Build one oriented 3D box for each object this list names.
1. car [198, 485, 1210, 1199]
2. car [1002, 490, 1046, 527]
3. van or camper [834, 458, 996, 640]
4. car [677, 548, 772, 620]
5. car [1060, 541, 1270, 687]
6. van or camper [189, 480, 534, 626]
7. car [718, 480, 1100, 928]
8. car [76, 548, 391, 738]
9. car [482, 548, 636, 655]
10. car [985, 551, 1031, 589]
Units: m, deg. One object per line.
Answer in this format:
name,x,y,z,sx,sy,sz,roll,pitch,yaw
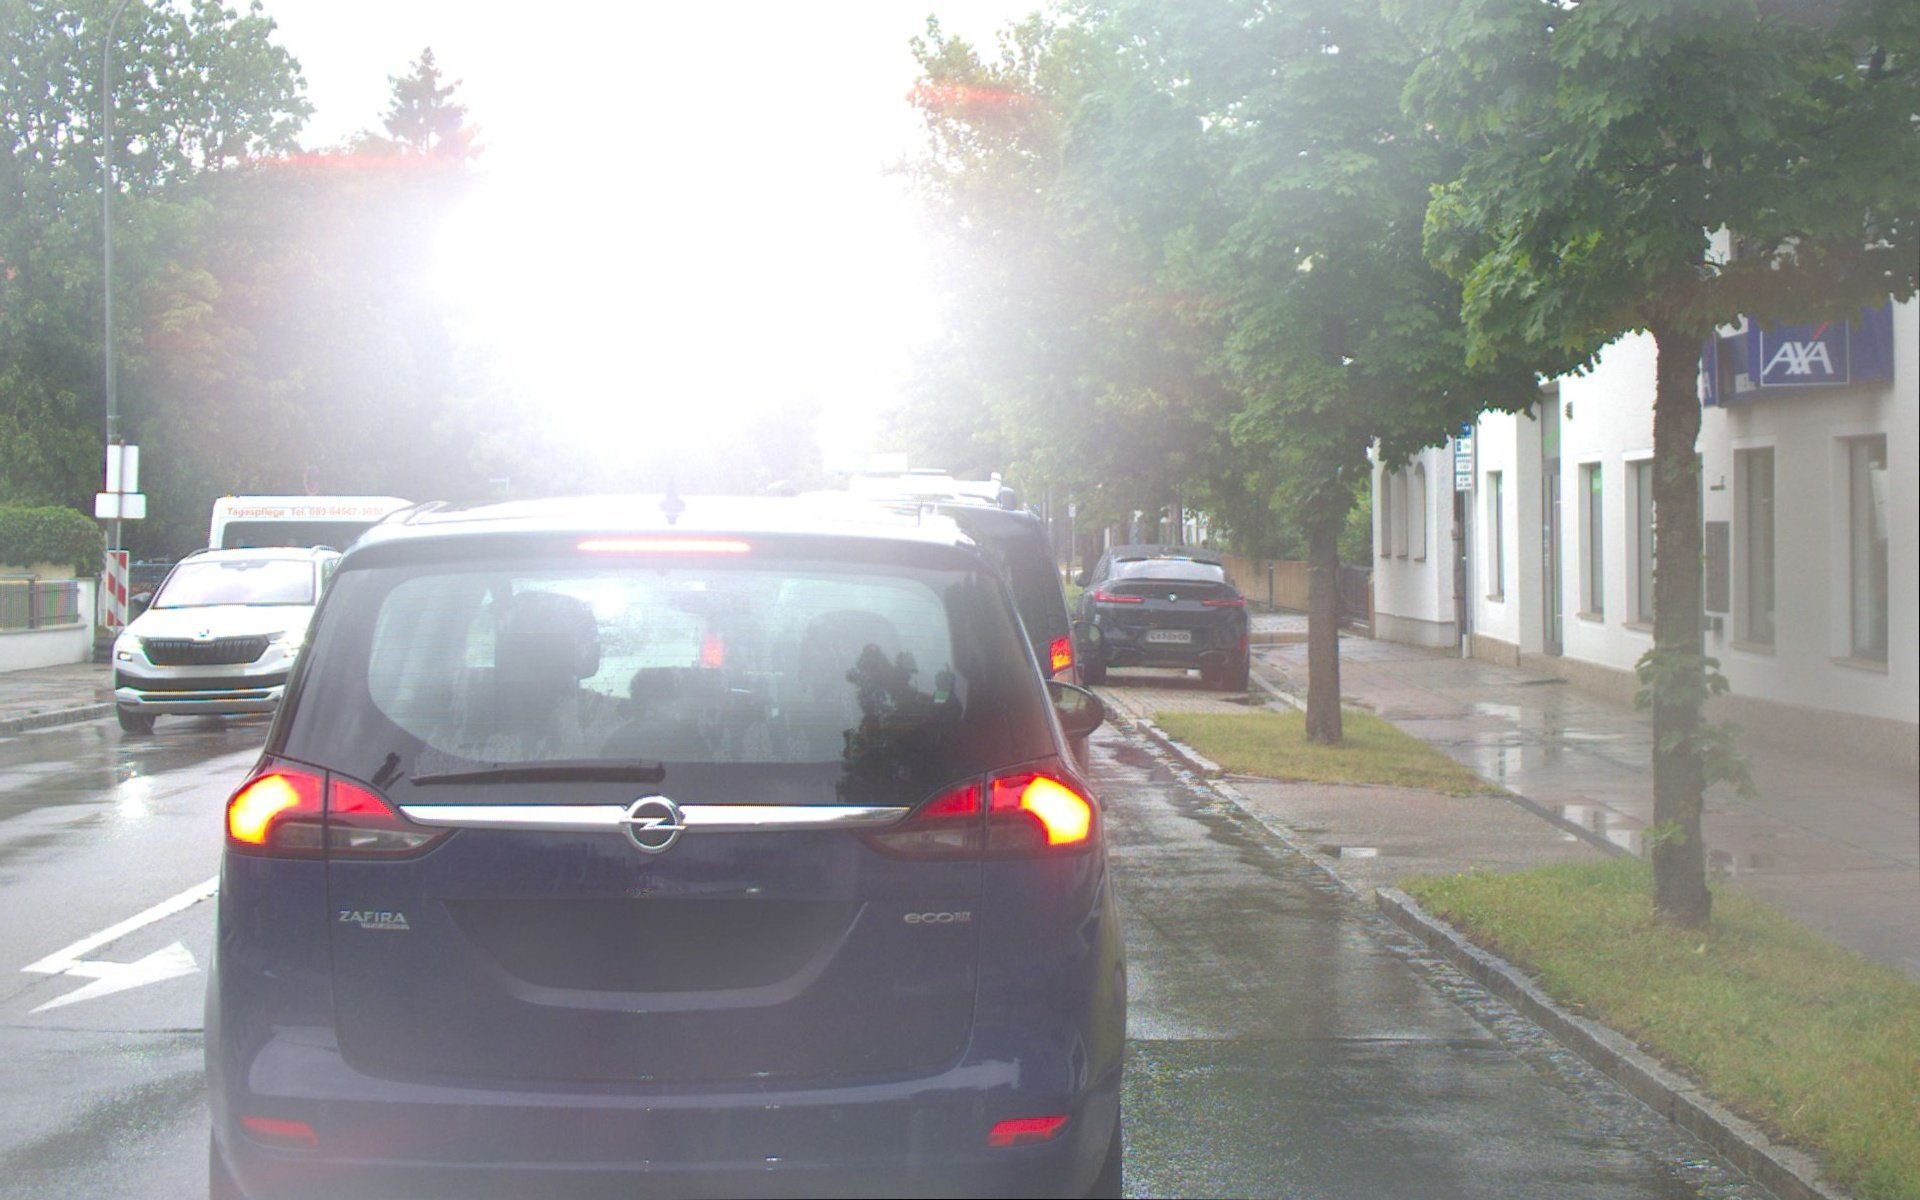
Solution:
car,-0.472,0.585,7.919,1.768,1.599,3.663,1,1,0
car,2.582,-3.677,138.349,1.630,1.373,3.623,-1,1,-1
van or camper,-0.688,-0.796,53.435,2.360,2.656,5.372,0,1,0
car,-5.256,-0.384,77.202,1.752,1.506,4.230,-2,1,1
car,2.338,0.138,40.253,2.117,1.576,3.936,1,1,-1
van or camper,-11.321,-0.896,65.363,6.247,2.698,2.101,0,1,-3
car,-0.219,0.395,15.356,1.500,1.770,3.112,1,1,0
car,-6.464,0.334,31.046,1.967,1.557,4.152,-1,1,-1
car,-6.114,-0.008,52.816,1.926,1.561,4.126,-1,1,-1
car,1.785,-1.126,128.927,1.630,1.373,3.623,1,0,-1
